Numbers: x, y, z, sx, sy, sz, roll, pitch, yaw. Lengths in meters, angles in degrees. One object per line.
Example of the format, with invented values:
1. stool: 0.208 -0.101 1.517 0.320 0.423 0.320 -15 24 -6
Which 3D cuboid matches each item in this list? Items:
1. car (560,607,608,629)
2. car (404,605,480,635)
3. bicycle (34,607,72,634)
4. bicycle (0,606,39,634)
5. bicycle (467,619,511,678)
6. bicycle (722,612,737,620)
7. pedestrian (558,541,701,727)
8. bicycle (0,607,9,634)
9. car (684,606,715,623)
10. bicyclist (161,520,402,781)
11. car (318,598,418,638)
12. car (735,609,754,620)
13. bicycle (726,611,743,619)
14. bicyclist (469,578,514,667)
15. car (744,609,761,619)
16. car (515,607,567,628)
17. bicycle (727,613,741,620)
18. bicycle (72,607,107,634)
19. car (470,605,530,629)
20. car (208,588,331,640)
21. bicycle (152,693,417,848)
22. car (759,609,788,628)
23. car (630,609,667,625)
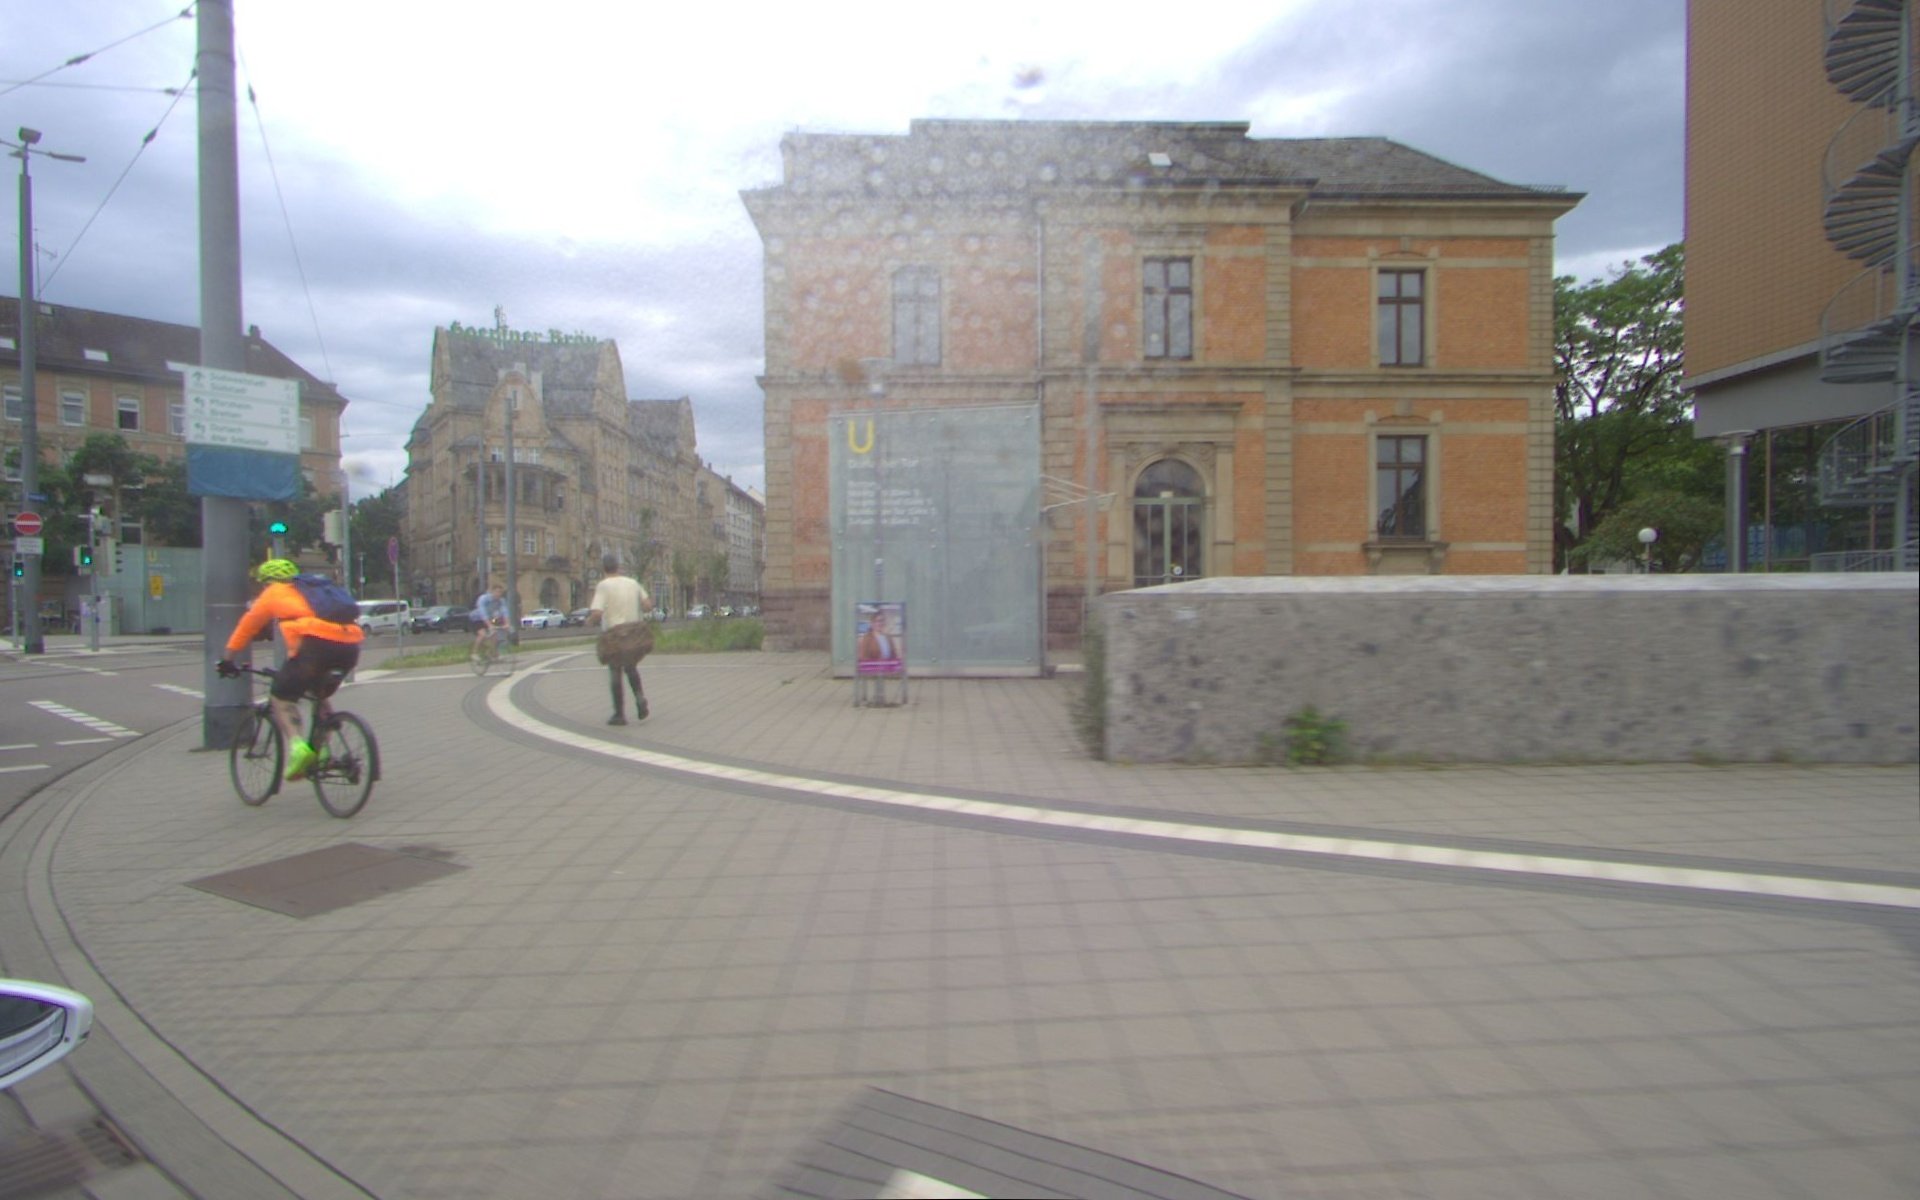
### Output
1. car: -26.055 1.228 69.478 1.661 1.461 4.000 0 -1 3
2. car: -29.464 1.110 57.109 1.833 1.554 4.302 -2 -1 4
3. bicycle: -47.229 1.074 52.175 0.948 1.371 3.102 1 -1 -33
4. bicycle: -48.221 1.048 51.335 0.948 1.371 3.102 1 -1 -33
5. bicycle: -8.764 0.874 18.638 0.662 0.946 1.851 -3 3 -26
6. bicycle: -30.715 2.138 133.558 1.935 1.014 0.463 0 0 -8
7. pedestrian: -3.596 0.356 10.907 1.268 1.892 0.882 0 0 34
8. bicycle: -49.112 1.025 50.602 0.948 1.371 3.102 1 -1 -33
9. car: -26.650 1.483 102.699 1.832 1.728 4.909 -1 0 0
10. bicyclist: -4.697 0.324 6.950 1.300 1.642 0.827 0 0 25
11. car: -30.069 0.881 51.103 1.833 1.941 5.100 0 0 4
12. car: -30.747 2.046 142.870 1.747 1.524 4.402 0 0 -1
13. bicycle: -31.217 2.064 138.484 2.195 1.141 0.504 0 0 -8
14. bicyclist: -8.688 0.395 18.553 0.682 1.582 0.922 -2 3 -27
15. car: -30.812 2.081 148.986 1.747 1.524 4.402 0 0 -1
16. car: -29.247 1.208 70.066 1.718 1.398 4.362 -3 0 0
17. bicycle: -30.953 2.255 137.135 1.935 1.014 0.463 0 0 -8
18. bicycle: -46.372 1.110 53.369 0.948 1.371 3.102 1 -1 -33
19. car: -28.941 1.071 63.082 1.833 1.417 3.895 -2 0 3
20. car: -27.254 0.549 39.714 1.661 1.925 4.387 0 -1 3
21. bicycle: -4.709 1.127 6.947 2.039 0.860 0.556 0 0 25
22. car: -14.996 1.480 80.623 1.611 1.452 3.930 -2 0 -1
23. car: -27.722 1.496 89.282 1.895 1.398 4.258 0 0 2
